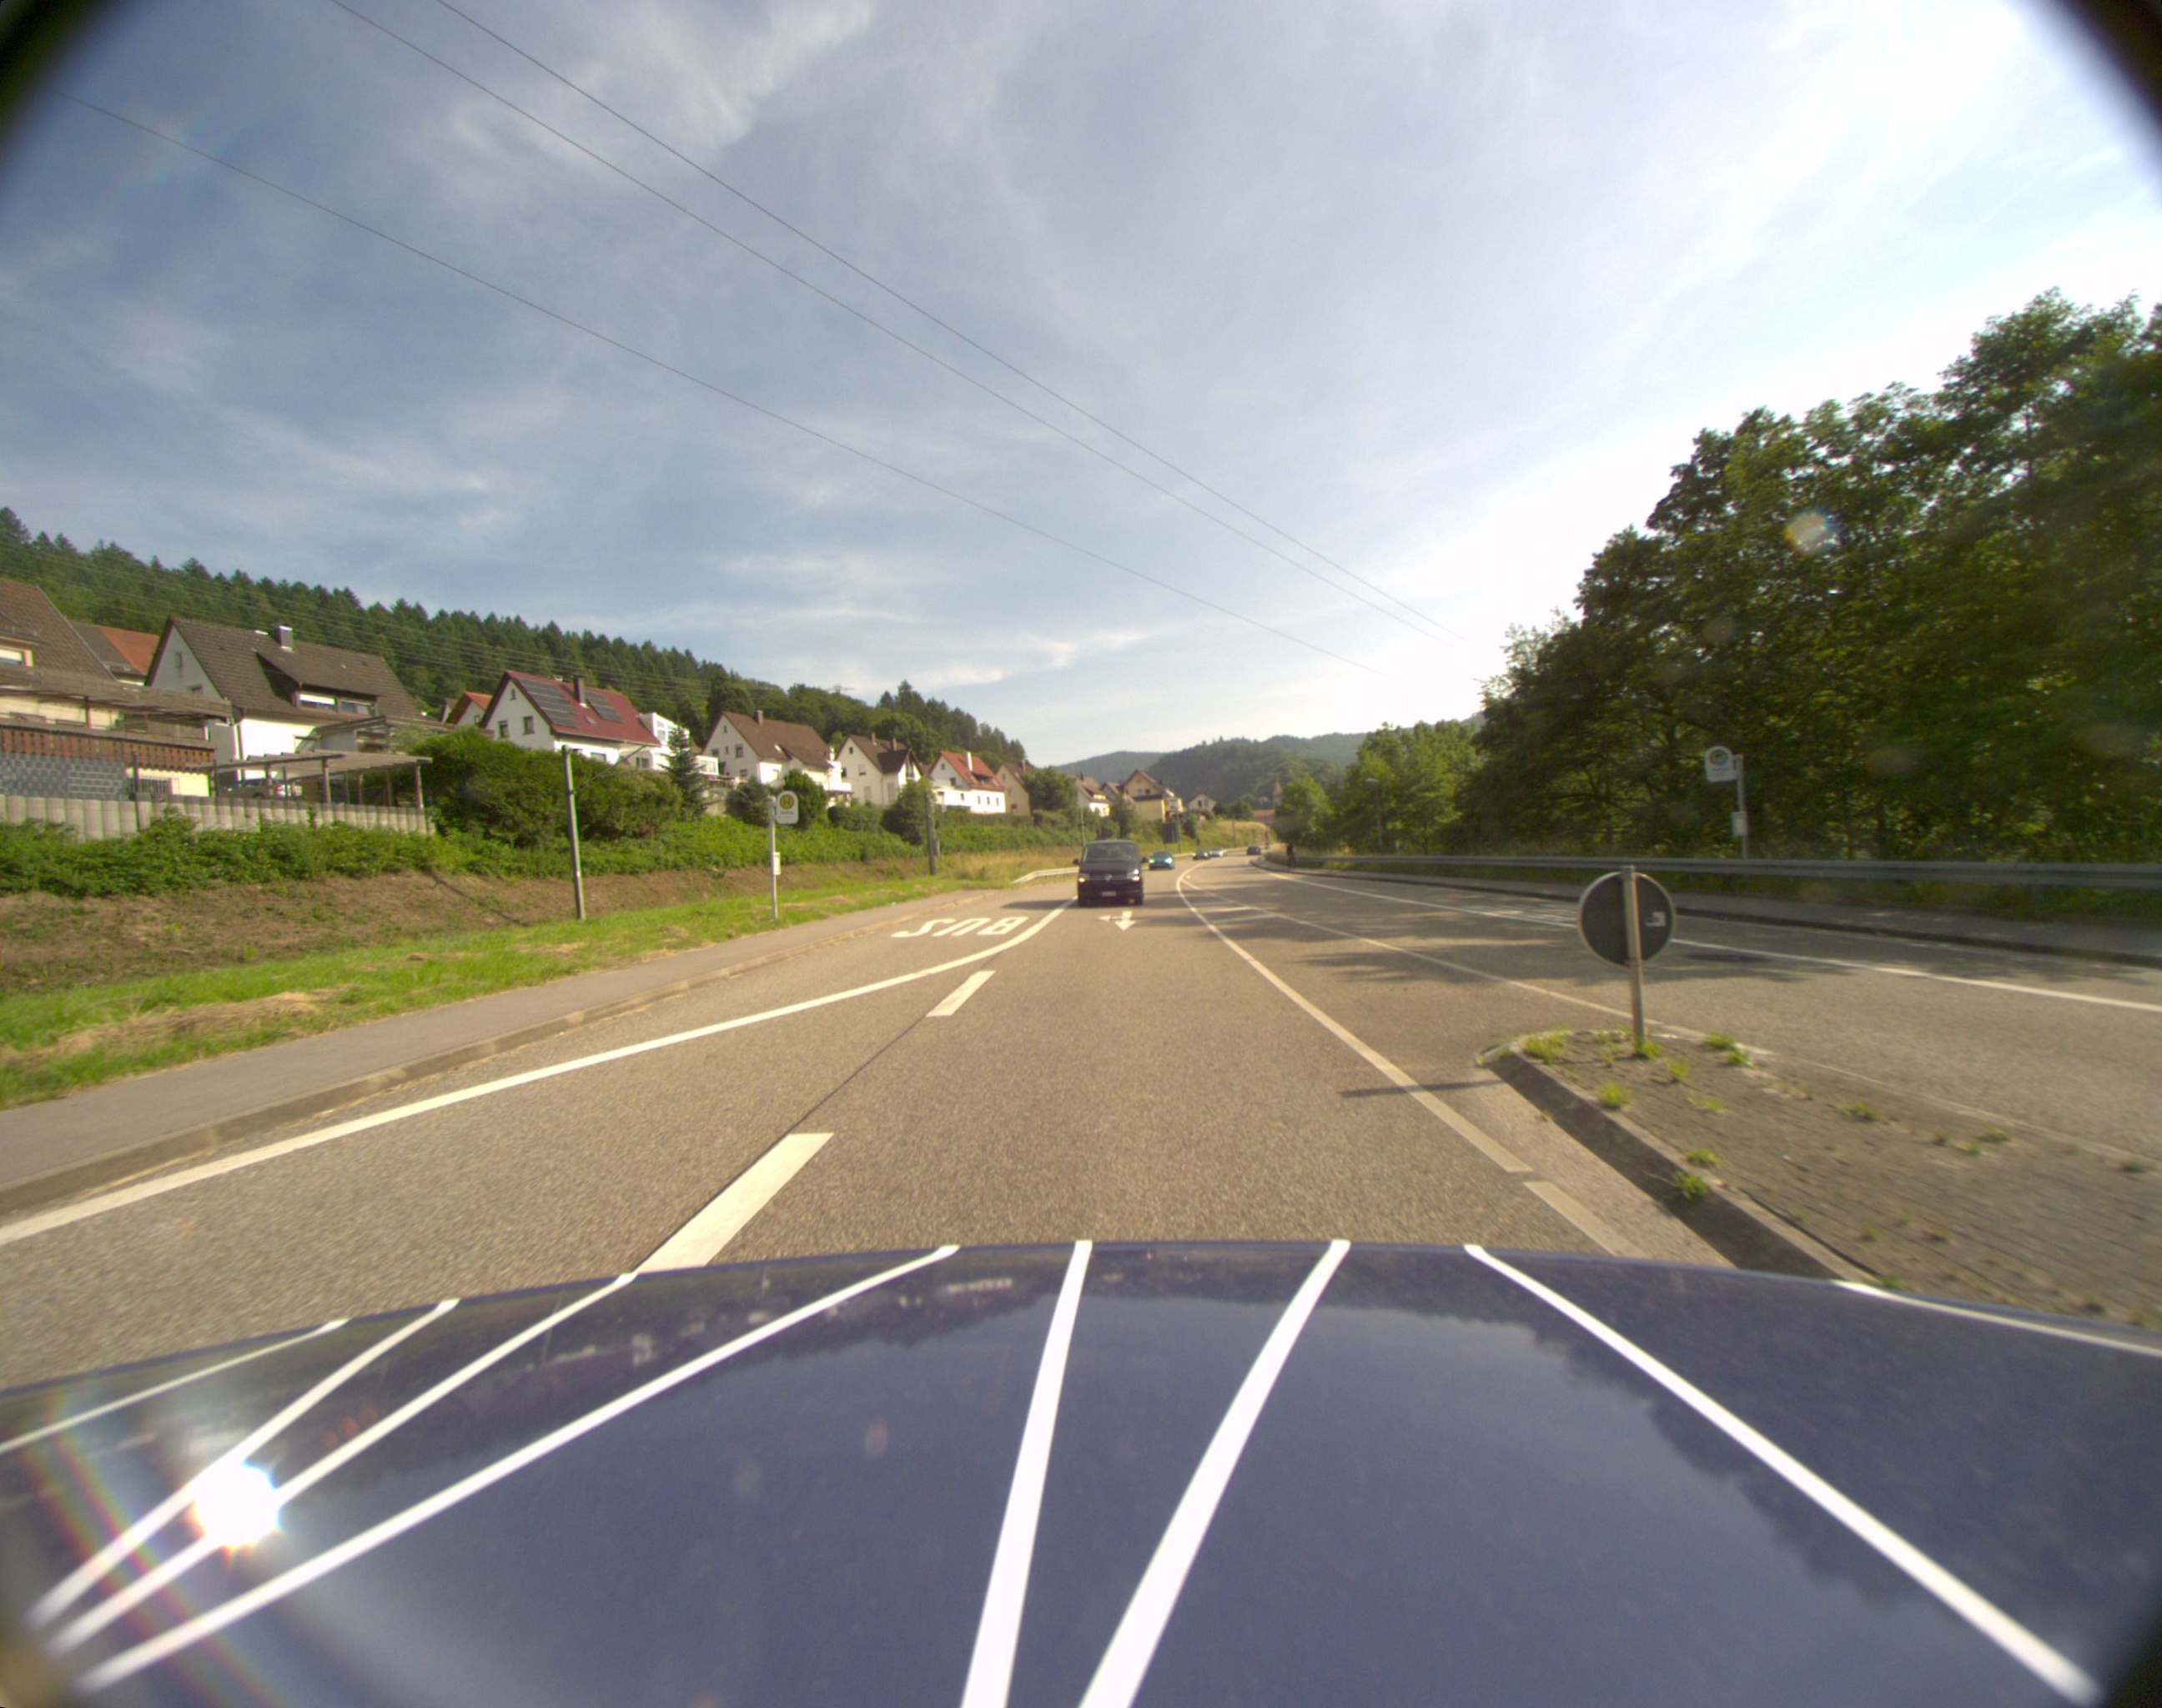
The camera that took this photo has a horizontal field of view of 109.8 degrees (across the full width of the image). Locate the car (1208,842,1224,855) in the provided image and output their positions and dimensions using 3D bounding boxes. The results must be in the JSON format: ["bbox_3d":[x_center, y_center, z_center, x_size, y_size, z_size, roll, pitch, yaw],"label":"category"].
[{"bbox_3d":[19.163,-0.837,107.596,1.883,1.735,4.183,-2,0,15],"label":"car"}]

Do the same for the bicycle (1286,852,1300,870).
[{"bbox_3d":[13.300,0.428,47.660,0.558,1.039,2.231,-6,-1,11],"label":"bicycle"}]

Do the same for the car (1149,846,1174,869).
[{"bbox_3d":[6.392,0.281,60.708,1.884,1.735,4.180,-1,1,6],"label":"car"}]

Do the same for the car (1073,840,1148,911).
[{"bbox_3d":[1.000,0.606,23.375,2.017,1.905,4.313,-2,0,5],"label":"car"}]

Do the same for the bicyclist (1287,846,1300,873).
[{"bbox_3d":[13.273,0.339,47.535,0.558,1.577,1.036,-6,-1,11],"label":"bicyclist"}]

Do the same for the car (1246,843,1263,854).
[{"bbox_3d":[25.999,-0.803,113.657,1.893,1.480,4.005,-3,1,21],"label":"car"}]

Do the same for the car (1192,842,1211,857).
[{"bbox_3d":[14.922,-0.579,93.997,1.883,1.735,4.182,-2,0,13],"label":"car"}]
